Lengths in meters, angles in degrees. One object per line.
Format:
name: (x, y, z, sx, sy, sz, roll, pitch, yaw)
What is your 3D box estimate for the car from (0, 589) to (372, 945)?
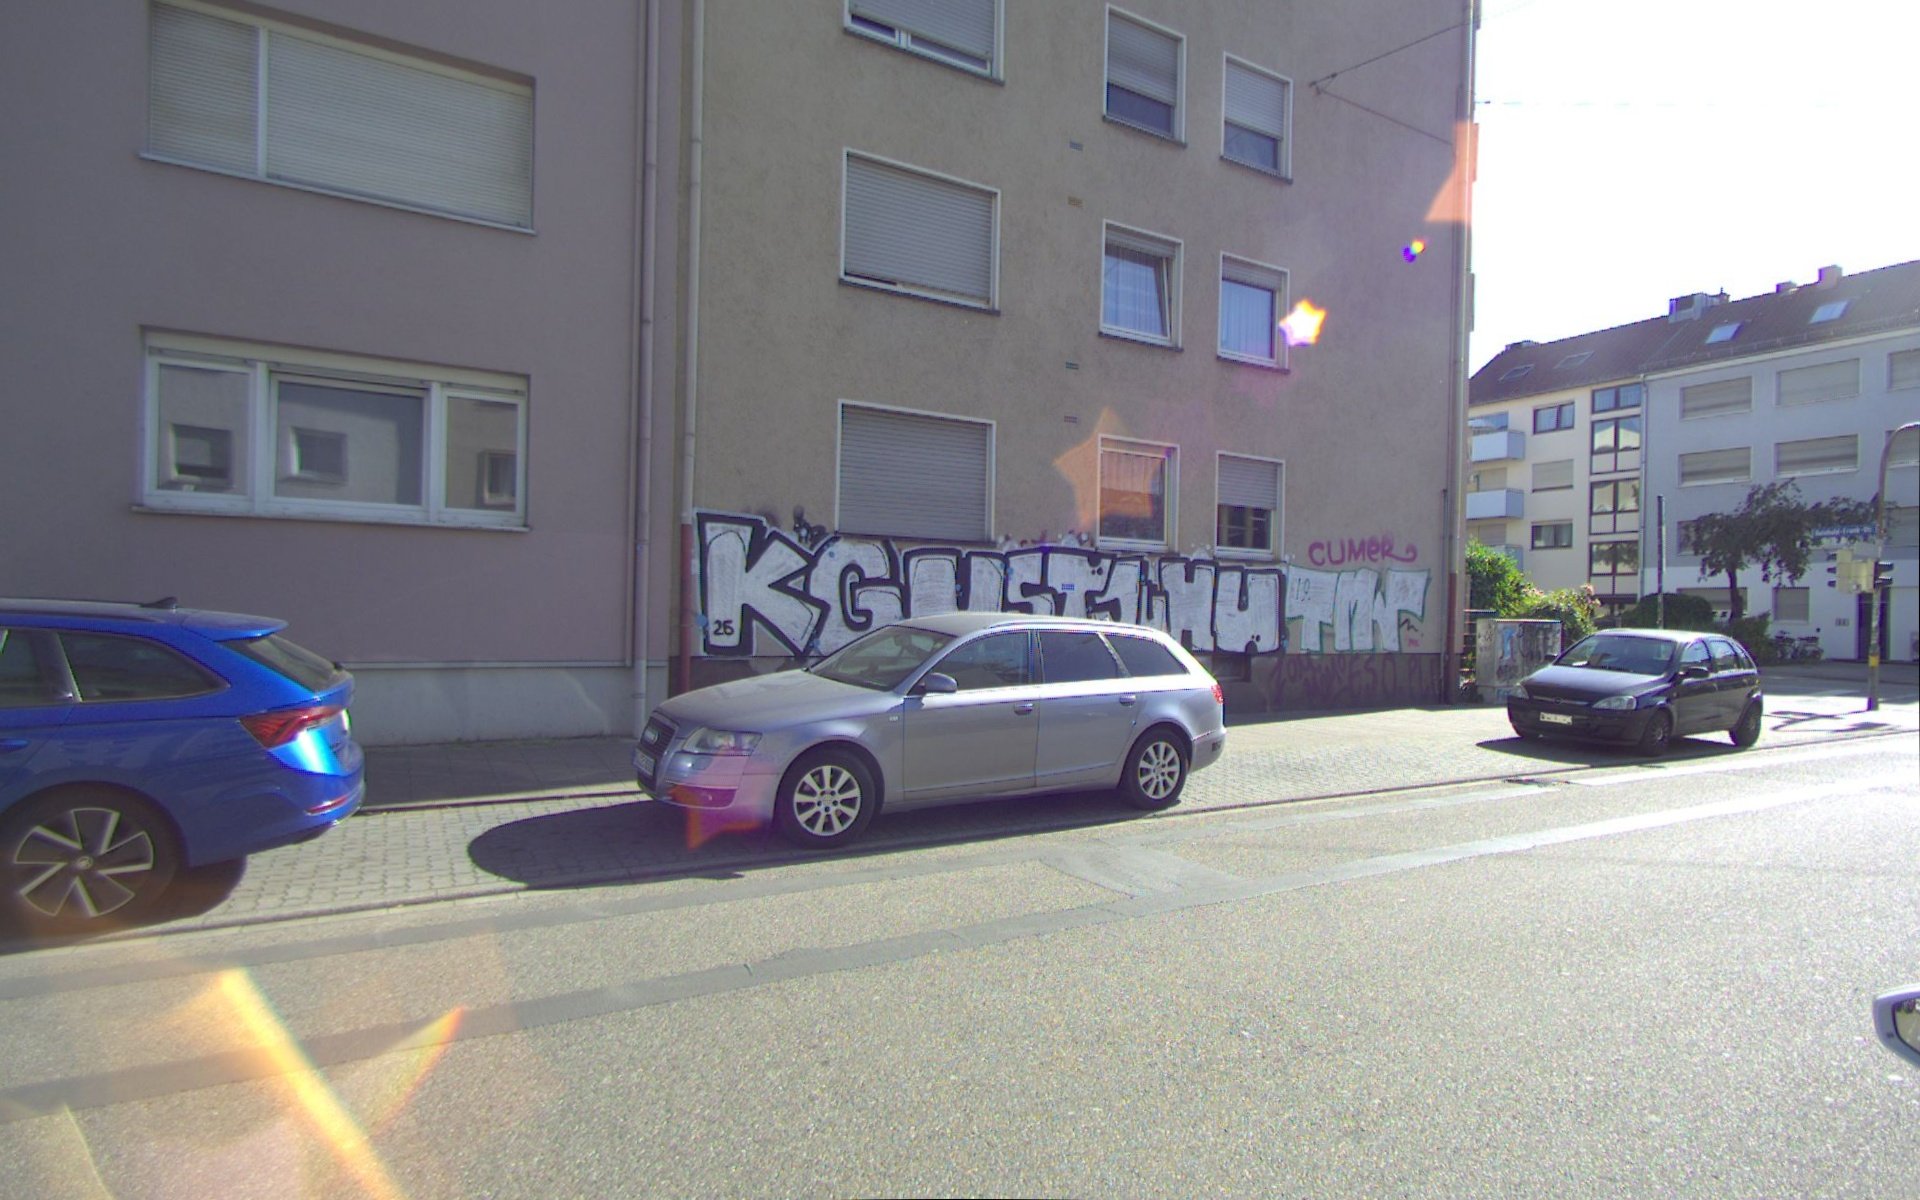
car: (-5.360, 0.701, 4.593, 4.558, 1.485, 1.709, 1, 2, -30)

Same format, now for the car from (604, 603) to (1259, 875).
car: (-0.070, 0.843, 7.676, 4.759, 1.485, 1.708, 1, 2, -31)

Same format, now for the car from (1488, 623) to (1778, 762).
car: (8.596, 1.076, 12.778, 3.667, 1.444, 1.608, 1, 2, -31)

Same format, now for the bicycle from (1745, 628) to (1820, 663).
bicycle: (29.698, 1.644, 36.302, 2.068, 1.188, 0.738, 0, -1, 37)
